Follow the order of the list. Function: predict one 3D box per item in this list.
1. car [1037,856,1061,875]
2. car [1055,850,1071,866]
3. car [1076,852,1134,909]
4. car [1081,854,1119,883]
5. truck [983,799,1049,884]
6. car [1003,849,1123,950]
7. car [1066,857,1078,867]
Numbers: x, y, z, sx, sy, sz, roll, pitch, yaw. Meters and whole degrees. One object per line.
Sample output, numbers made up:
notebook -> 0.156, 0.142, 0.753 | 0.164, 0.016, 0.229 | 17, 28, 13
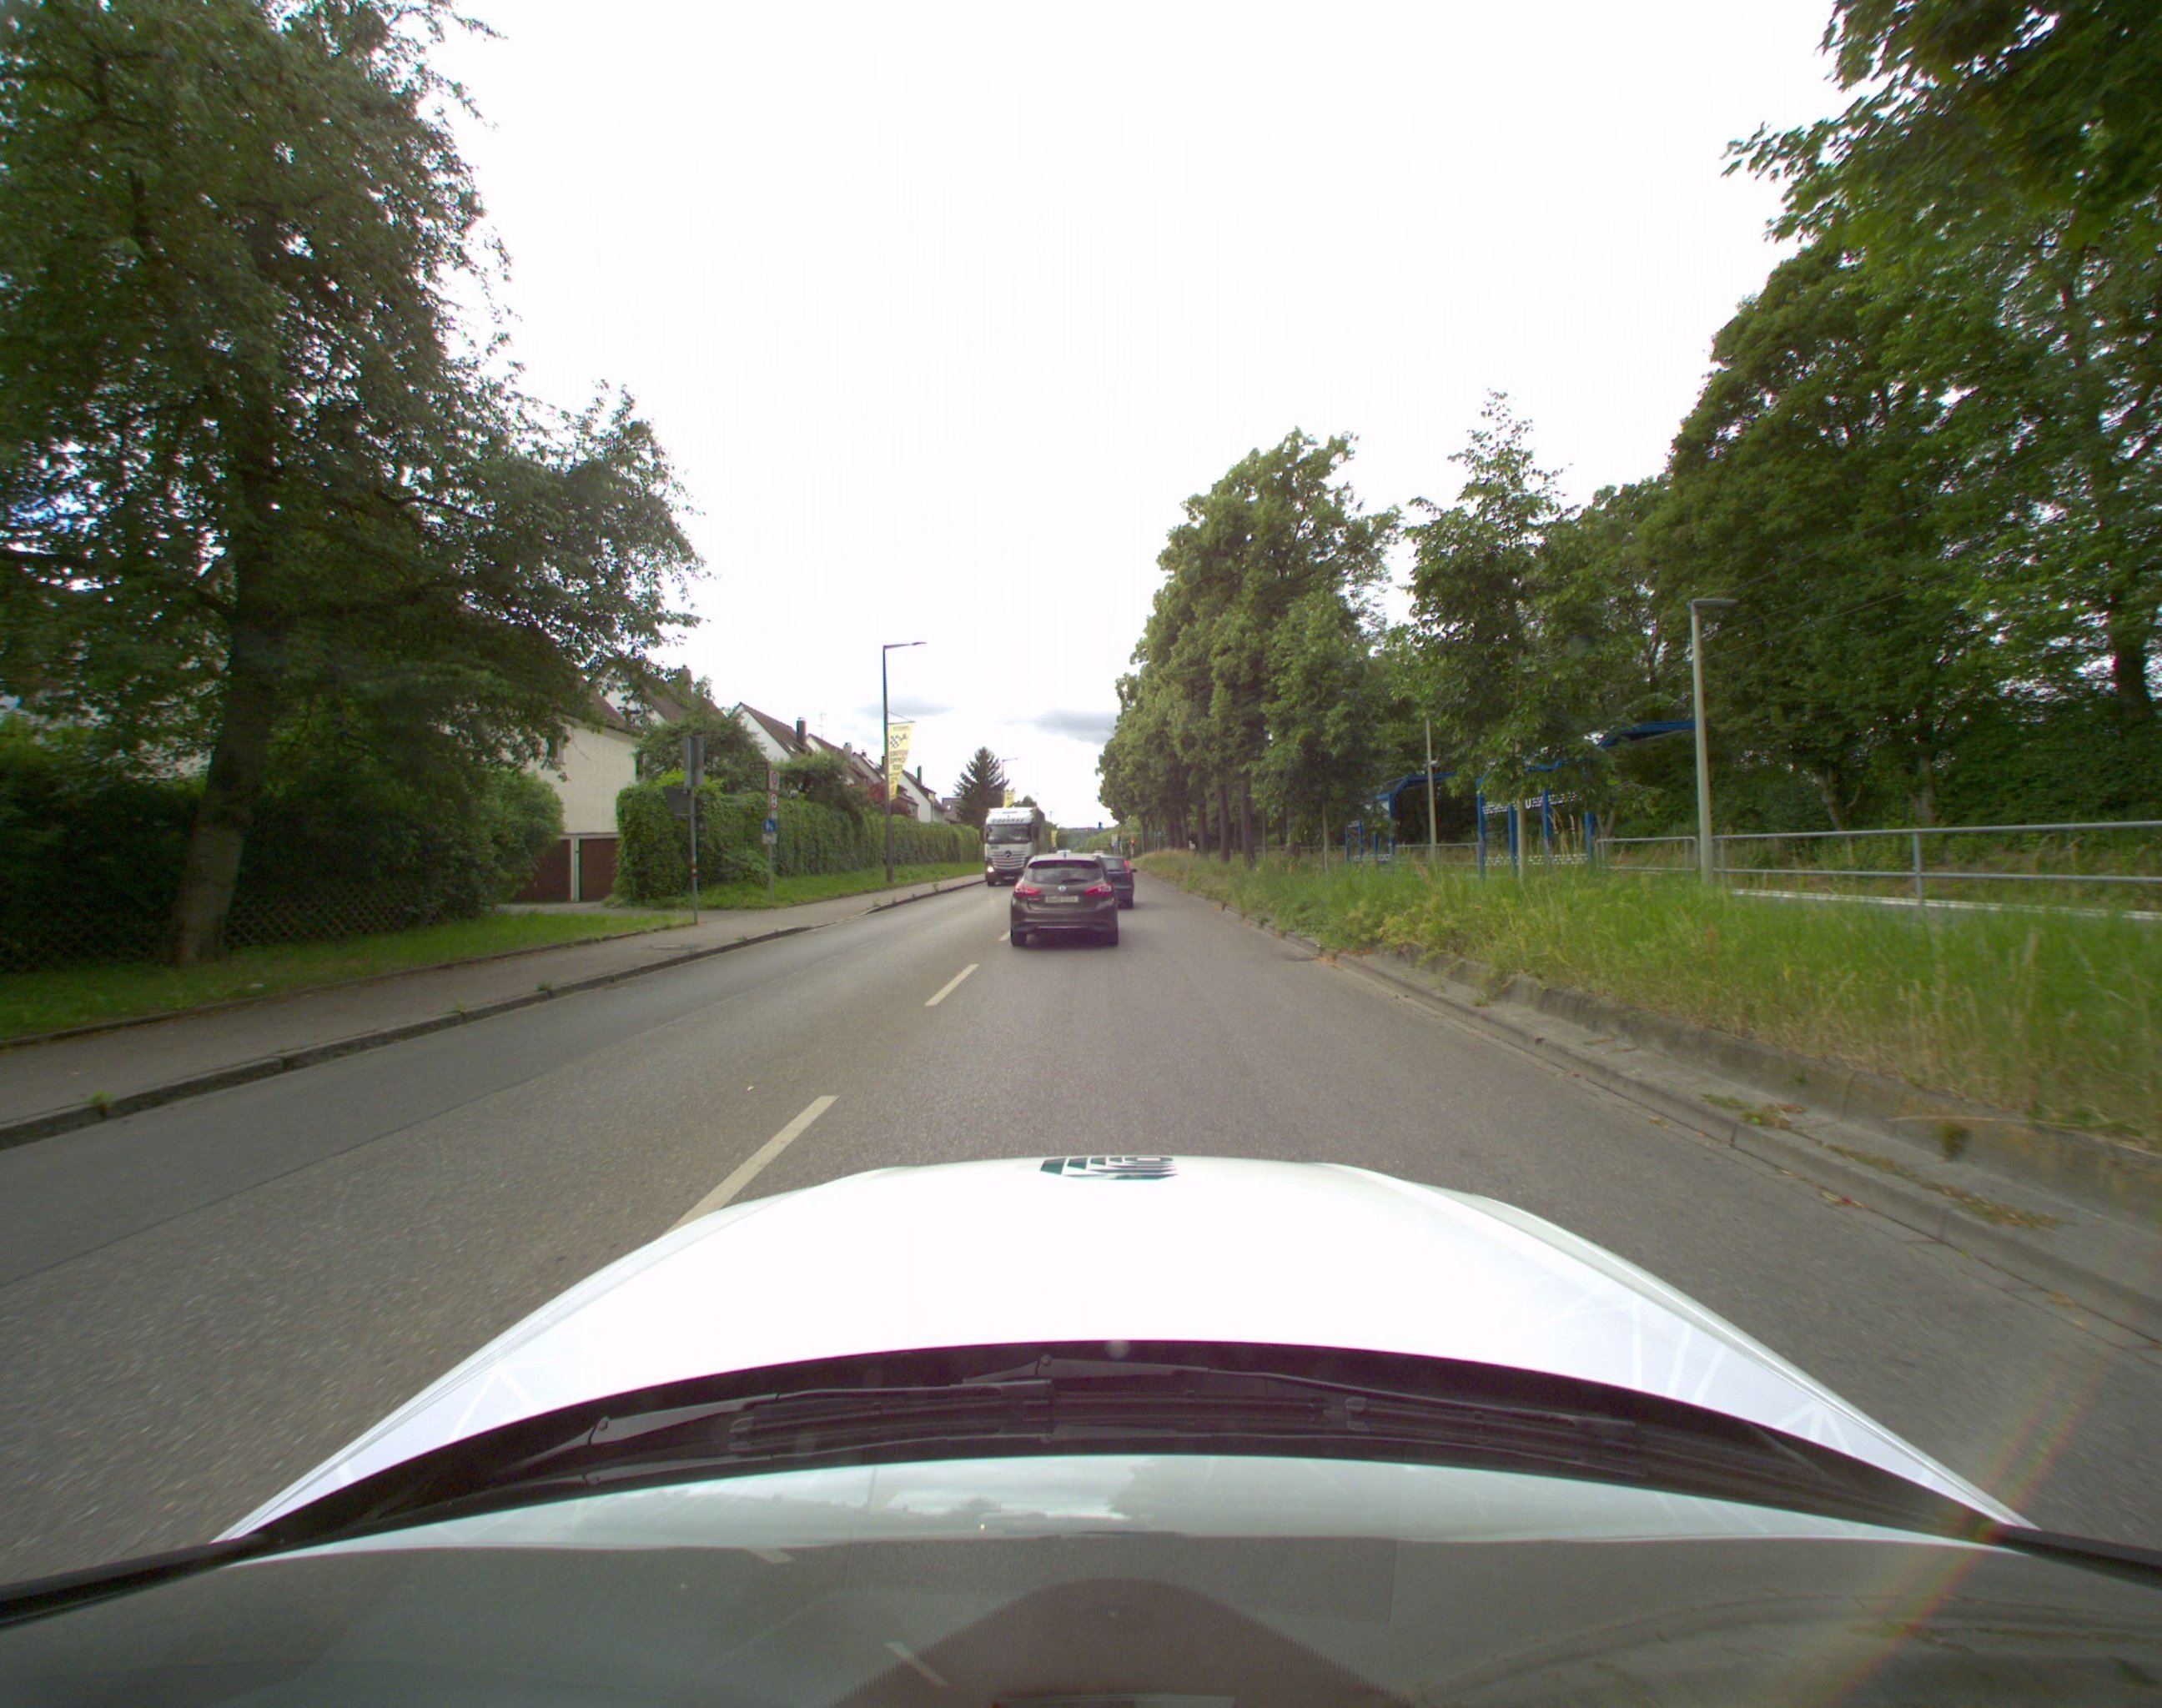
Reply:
car -> -2.593, 0.917, 67.123 | 1.727, 1.375, 4.240 | -3, 0, 1
car -> -2.192, 0.438, 102.675 | 1.901, 1.932, 4.909 | -2, 0, -1
car -> 0.684, 0.706, 23.490 | 1.533, 1.478, 3.765 | -1, 0, 1
car -> 0.984, 0.701, 41.381 | 1.785, 1.397, 4.001 | -1, 0, 1
truck -> -3.396, -0.564, 45.296 | 2.541, 4.043, 10.619 | -3, -1, 0
car -> -0.222, 0.706, 14.921 | 1.828, 1.519, 4.484 | -1, 0, 1
car -> -1.379, 1.282, 132.088 | 1.880, 1.383, 4.490 | -2, 0, 0
